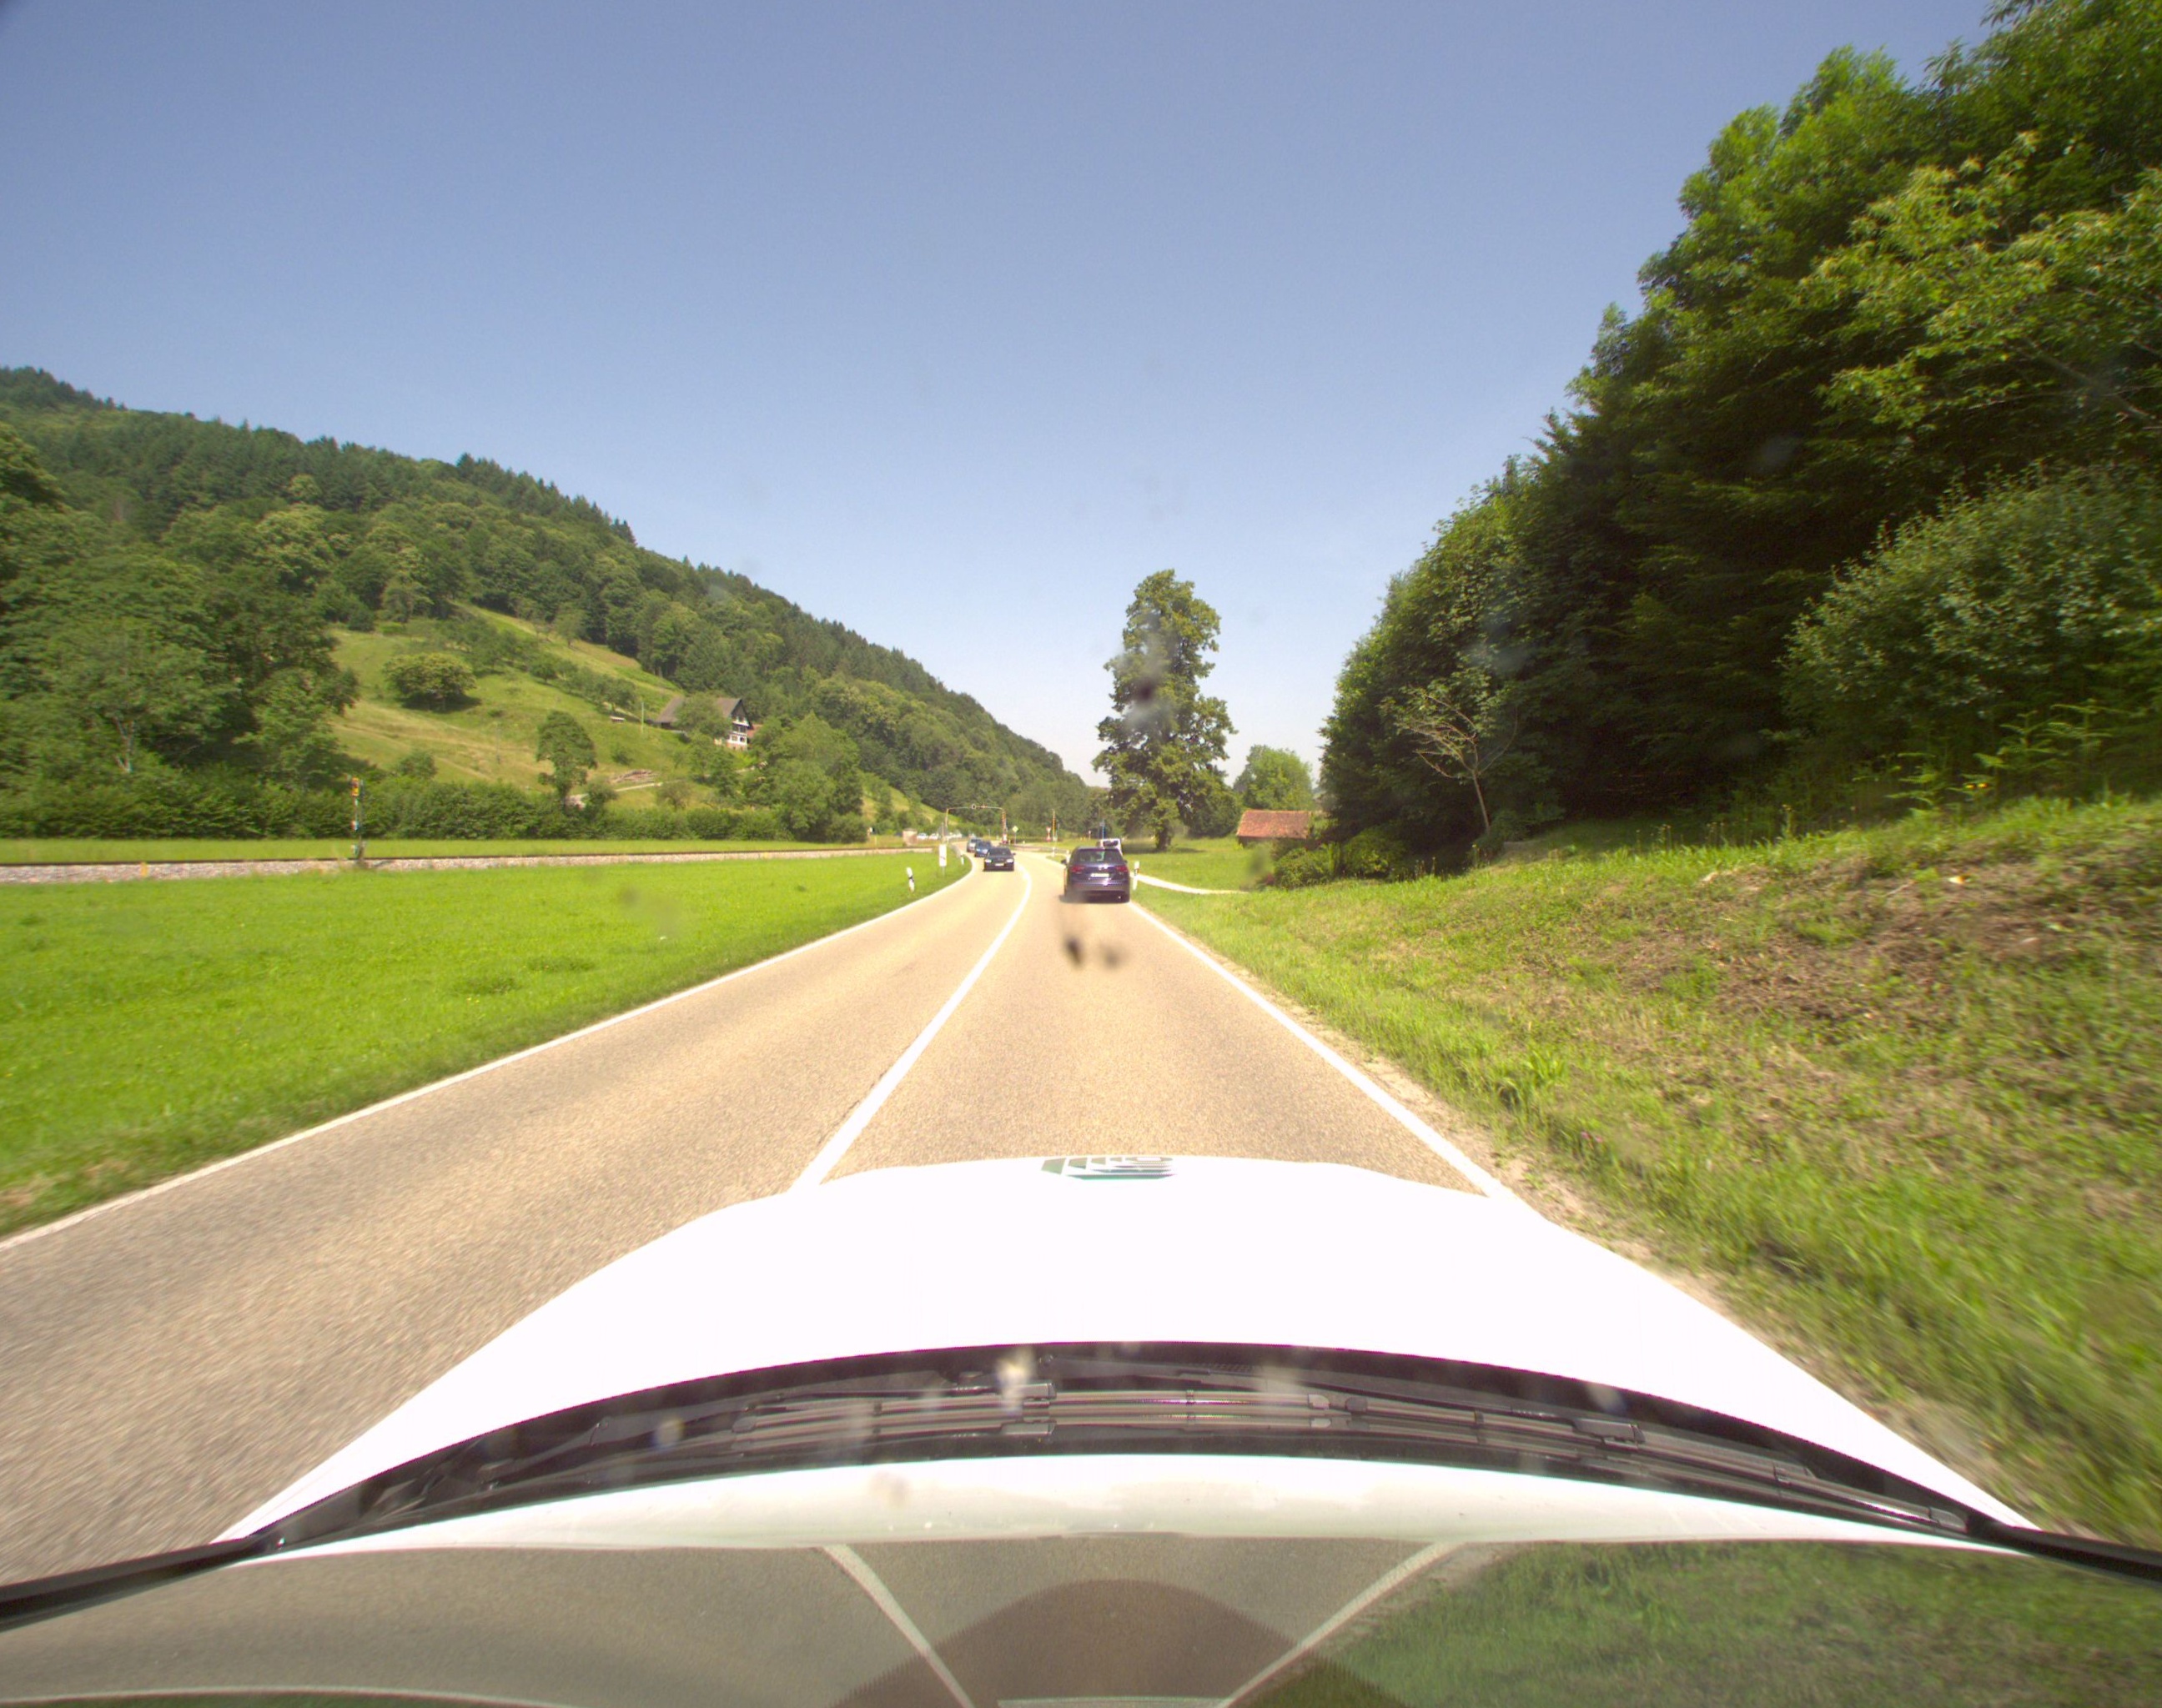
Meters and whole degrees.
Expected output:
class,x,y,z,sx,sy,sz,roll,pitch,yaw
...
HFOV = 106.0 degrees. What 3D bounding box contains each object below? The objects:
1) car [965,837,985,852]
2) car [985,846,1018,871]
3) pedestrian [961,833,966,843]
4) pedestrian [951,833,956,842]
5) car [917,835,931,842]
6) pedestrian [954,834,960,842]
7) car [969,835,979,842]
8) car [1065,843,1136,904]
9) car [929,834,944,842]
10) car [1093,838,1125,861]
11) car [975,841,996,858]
class,x,y,z,sx,sy,sz,roll,pitch,yaw
car,-12.176,-1.080,93.467,1.916,1.714,4.143,0,1,-12
car,-5.000,0.255,50.893,1.915,1.470,4.499,0,1,-8
pedestrian,-24.151,-3.278,167.054,0.641,1.858,0.776,1,1,37
pedestrian,-25.881,-3.376,165.758,0.782,1.842,0.701,1,1,15
car,-33.370,-3.382,172.937,1.986,1.500,4.524,0,1,2
pedestrian,-25.458,-3.285,166.920,0.761,1.796,0.799,0,1,31
car,-22.577,-3.245,171.995,1.823,1.500,4.270,0,1,-5
car,0.499,0.526,24.606,1.848,1.649,4.136,-1,0,-2
car,-30.691,-3.384,173.144,1.984,1.641,4.908,0,1,4
car,2.424,-0.434,71.814,1.997,1.848,4.859,-4,2,-6
car,-9.347,-0.475,79.947,1.863,1.623,4.502,1,1,-6
